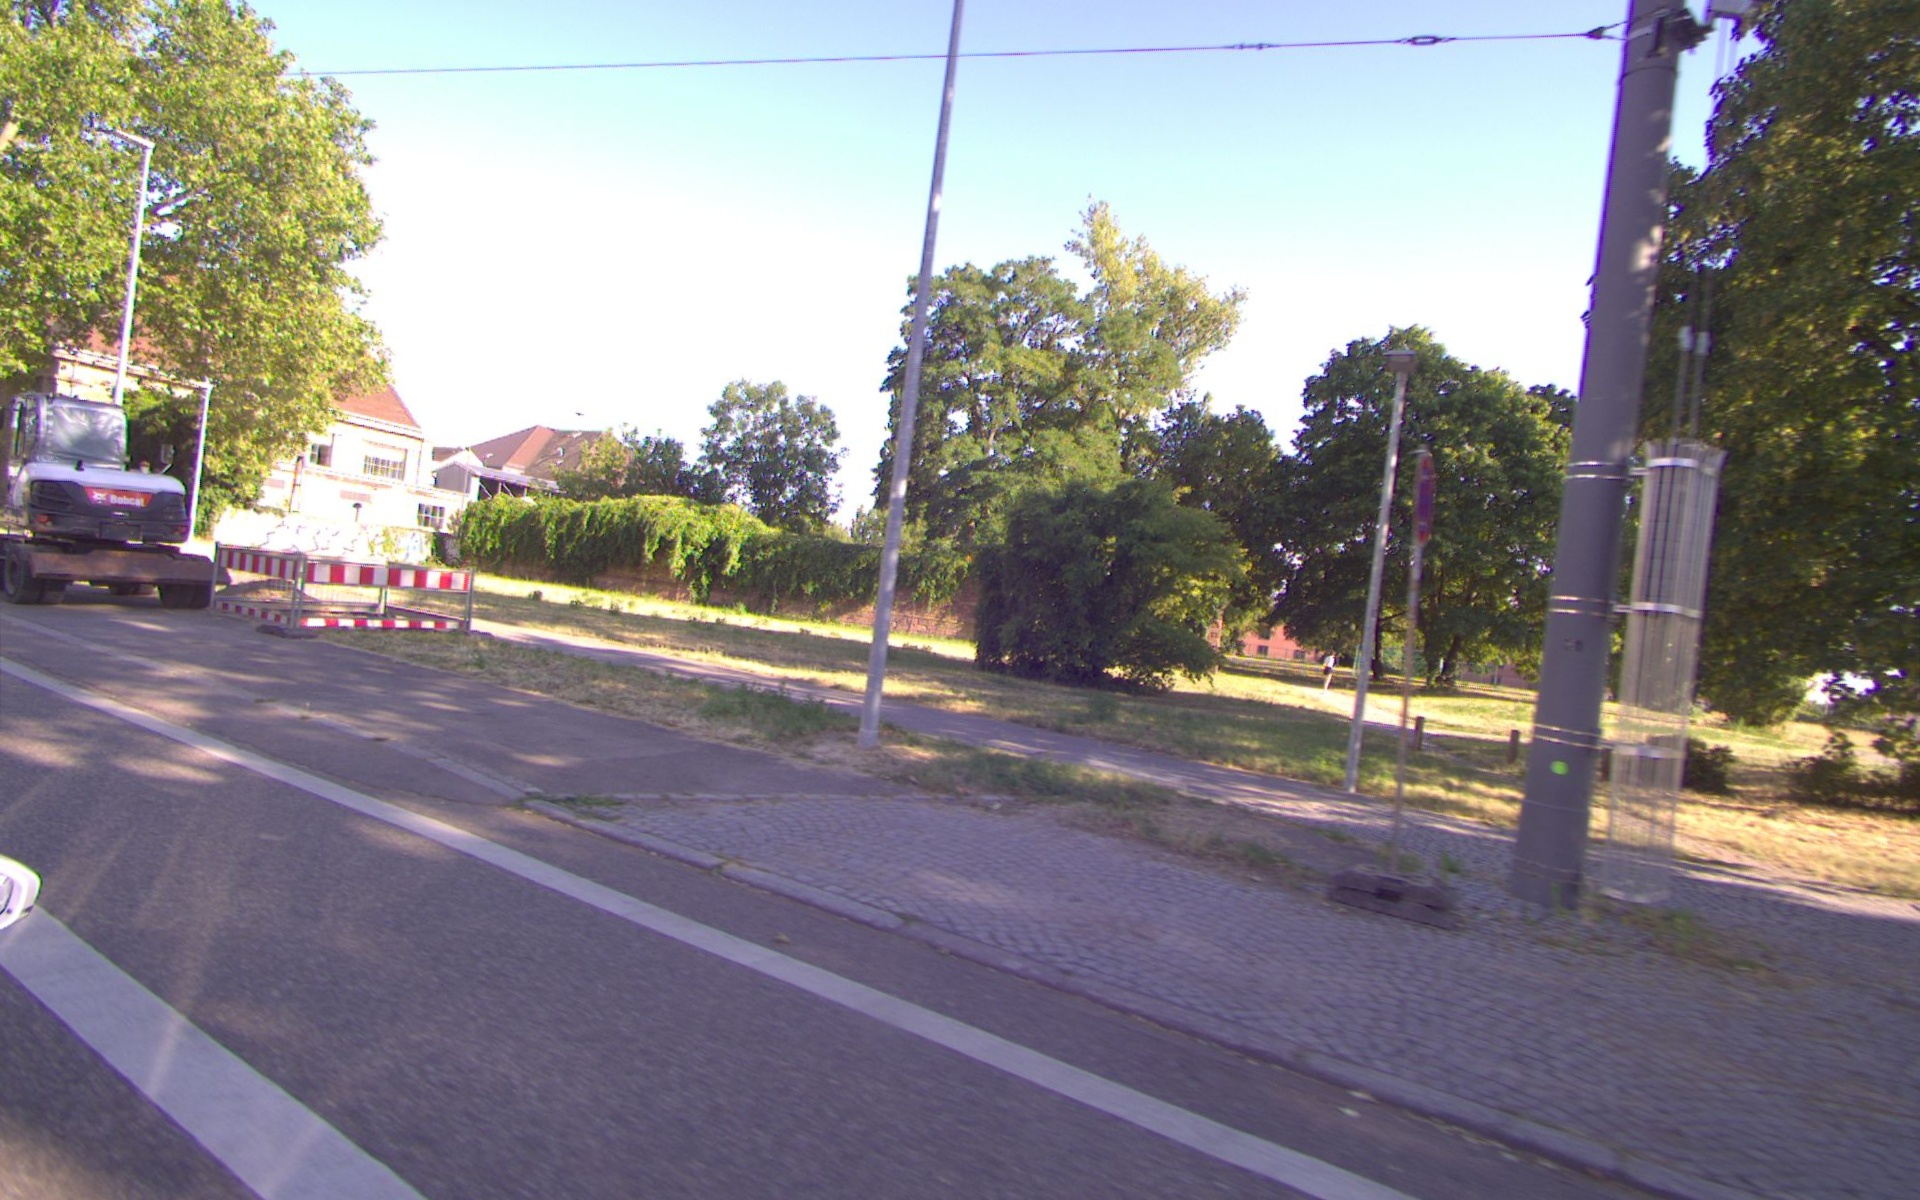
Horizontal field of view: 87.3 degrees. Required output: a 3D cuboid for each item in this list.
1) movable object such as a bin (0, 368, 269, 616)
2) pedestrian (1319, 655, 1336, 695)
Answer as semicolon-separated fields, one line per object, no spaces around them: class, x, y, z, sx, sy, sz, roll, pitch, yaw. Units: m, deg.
movable object such as a bin;-14.313;-1.742;16.132;7.101;3.188;2.743;7;3;33
pedestrian;13.999;2.851;38.352;0.340;1.437;0.578;7;1;10
